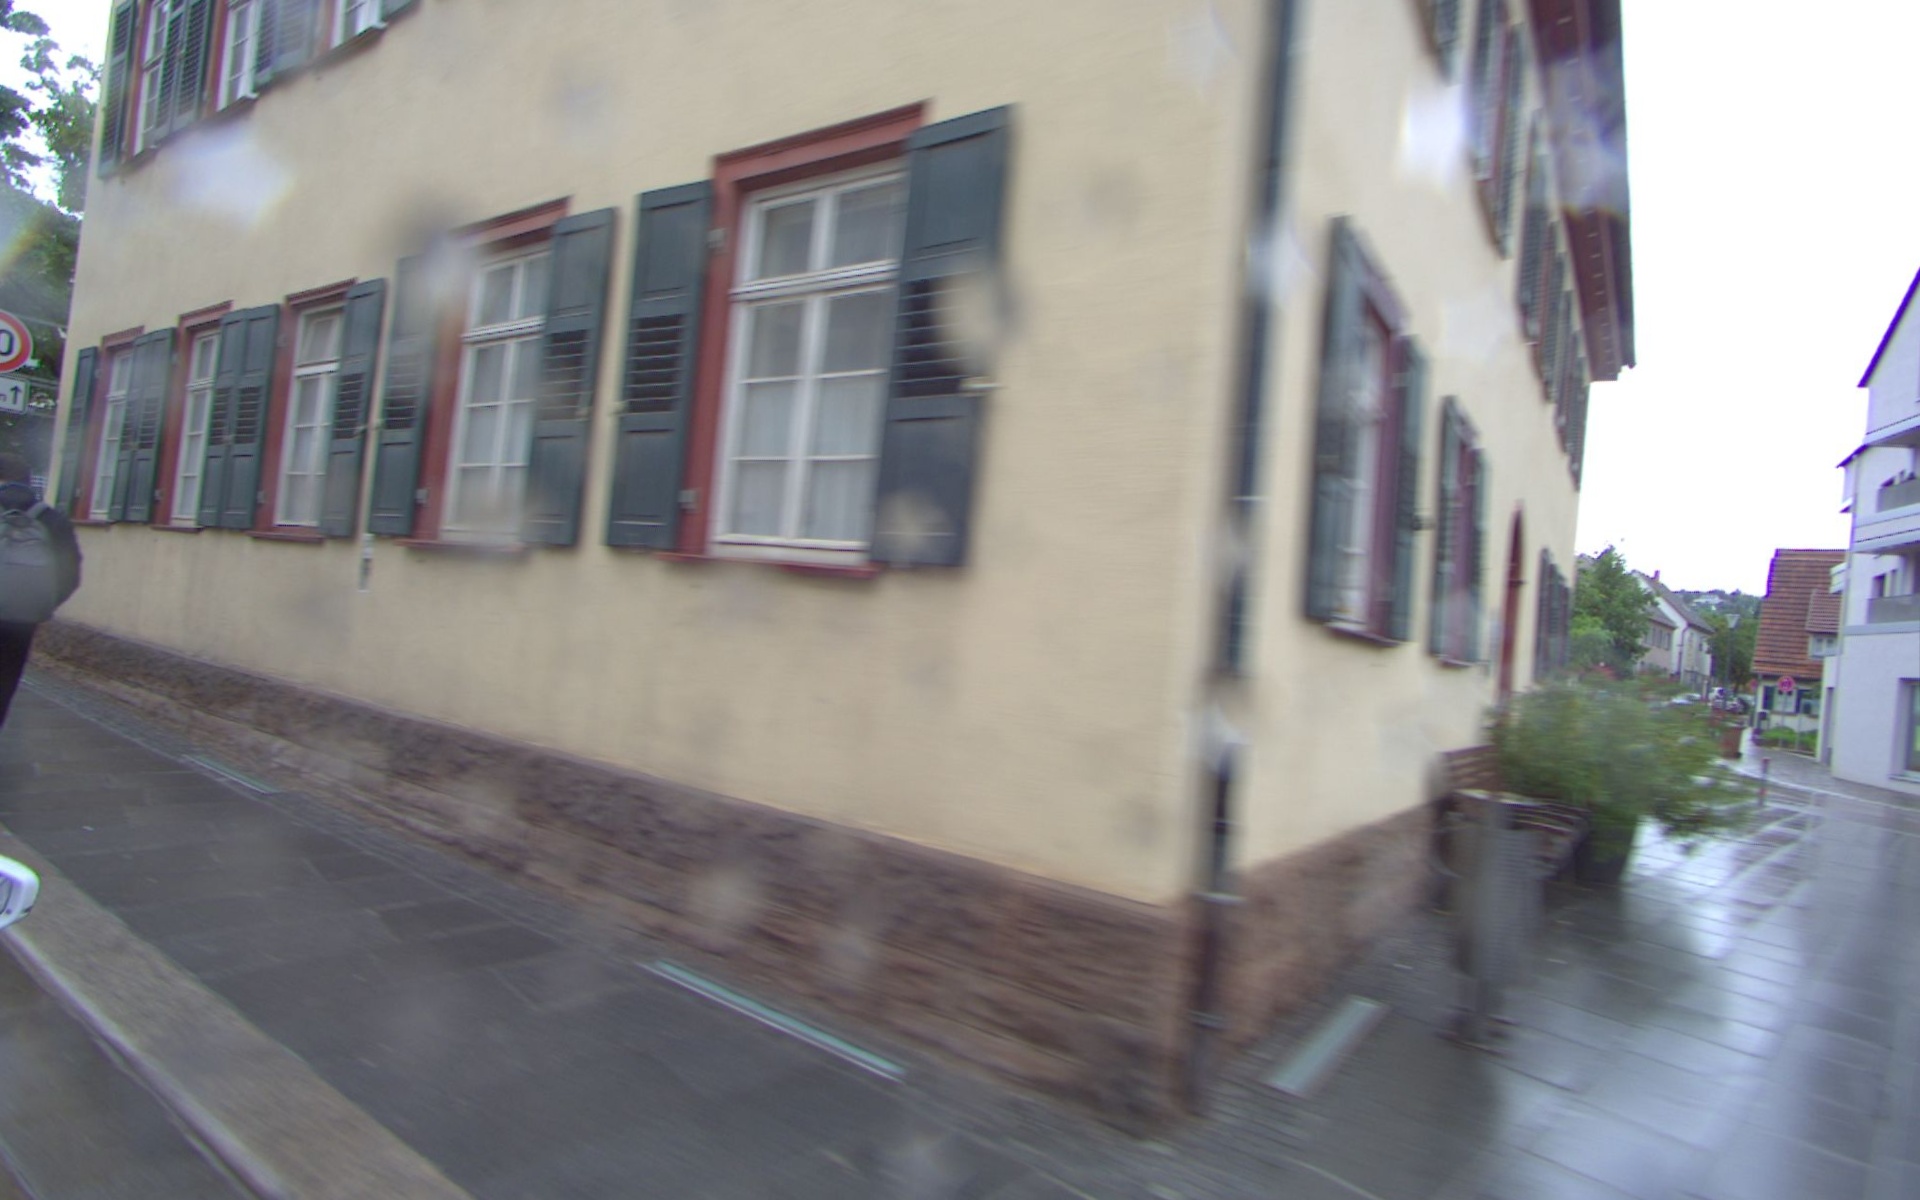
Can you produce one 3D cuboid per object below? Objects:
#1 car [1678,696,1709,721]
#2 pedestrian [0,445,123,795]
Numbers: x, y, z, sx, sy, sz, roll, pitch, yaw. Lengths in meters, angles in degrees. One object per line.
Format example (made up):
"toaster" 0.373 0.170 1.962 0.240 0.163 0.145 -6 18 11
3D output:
"car" 52.819 7.797 72.483 1.647 1.571 3.595 6 -1 36
"pedestrian" -5.013 0.070 5.202 0.854 1.714 0.714 7 0 35
